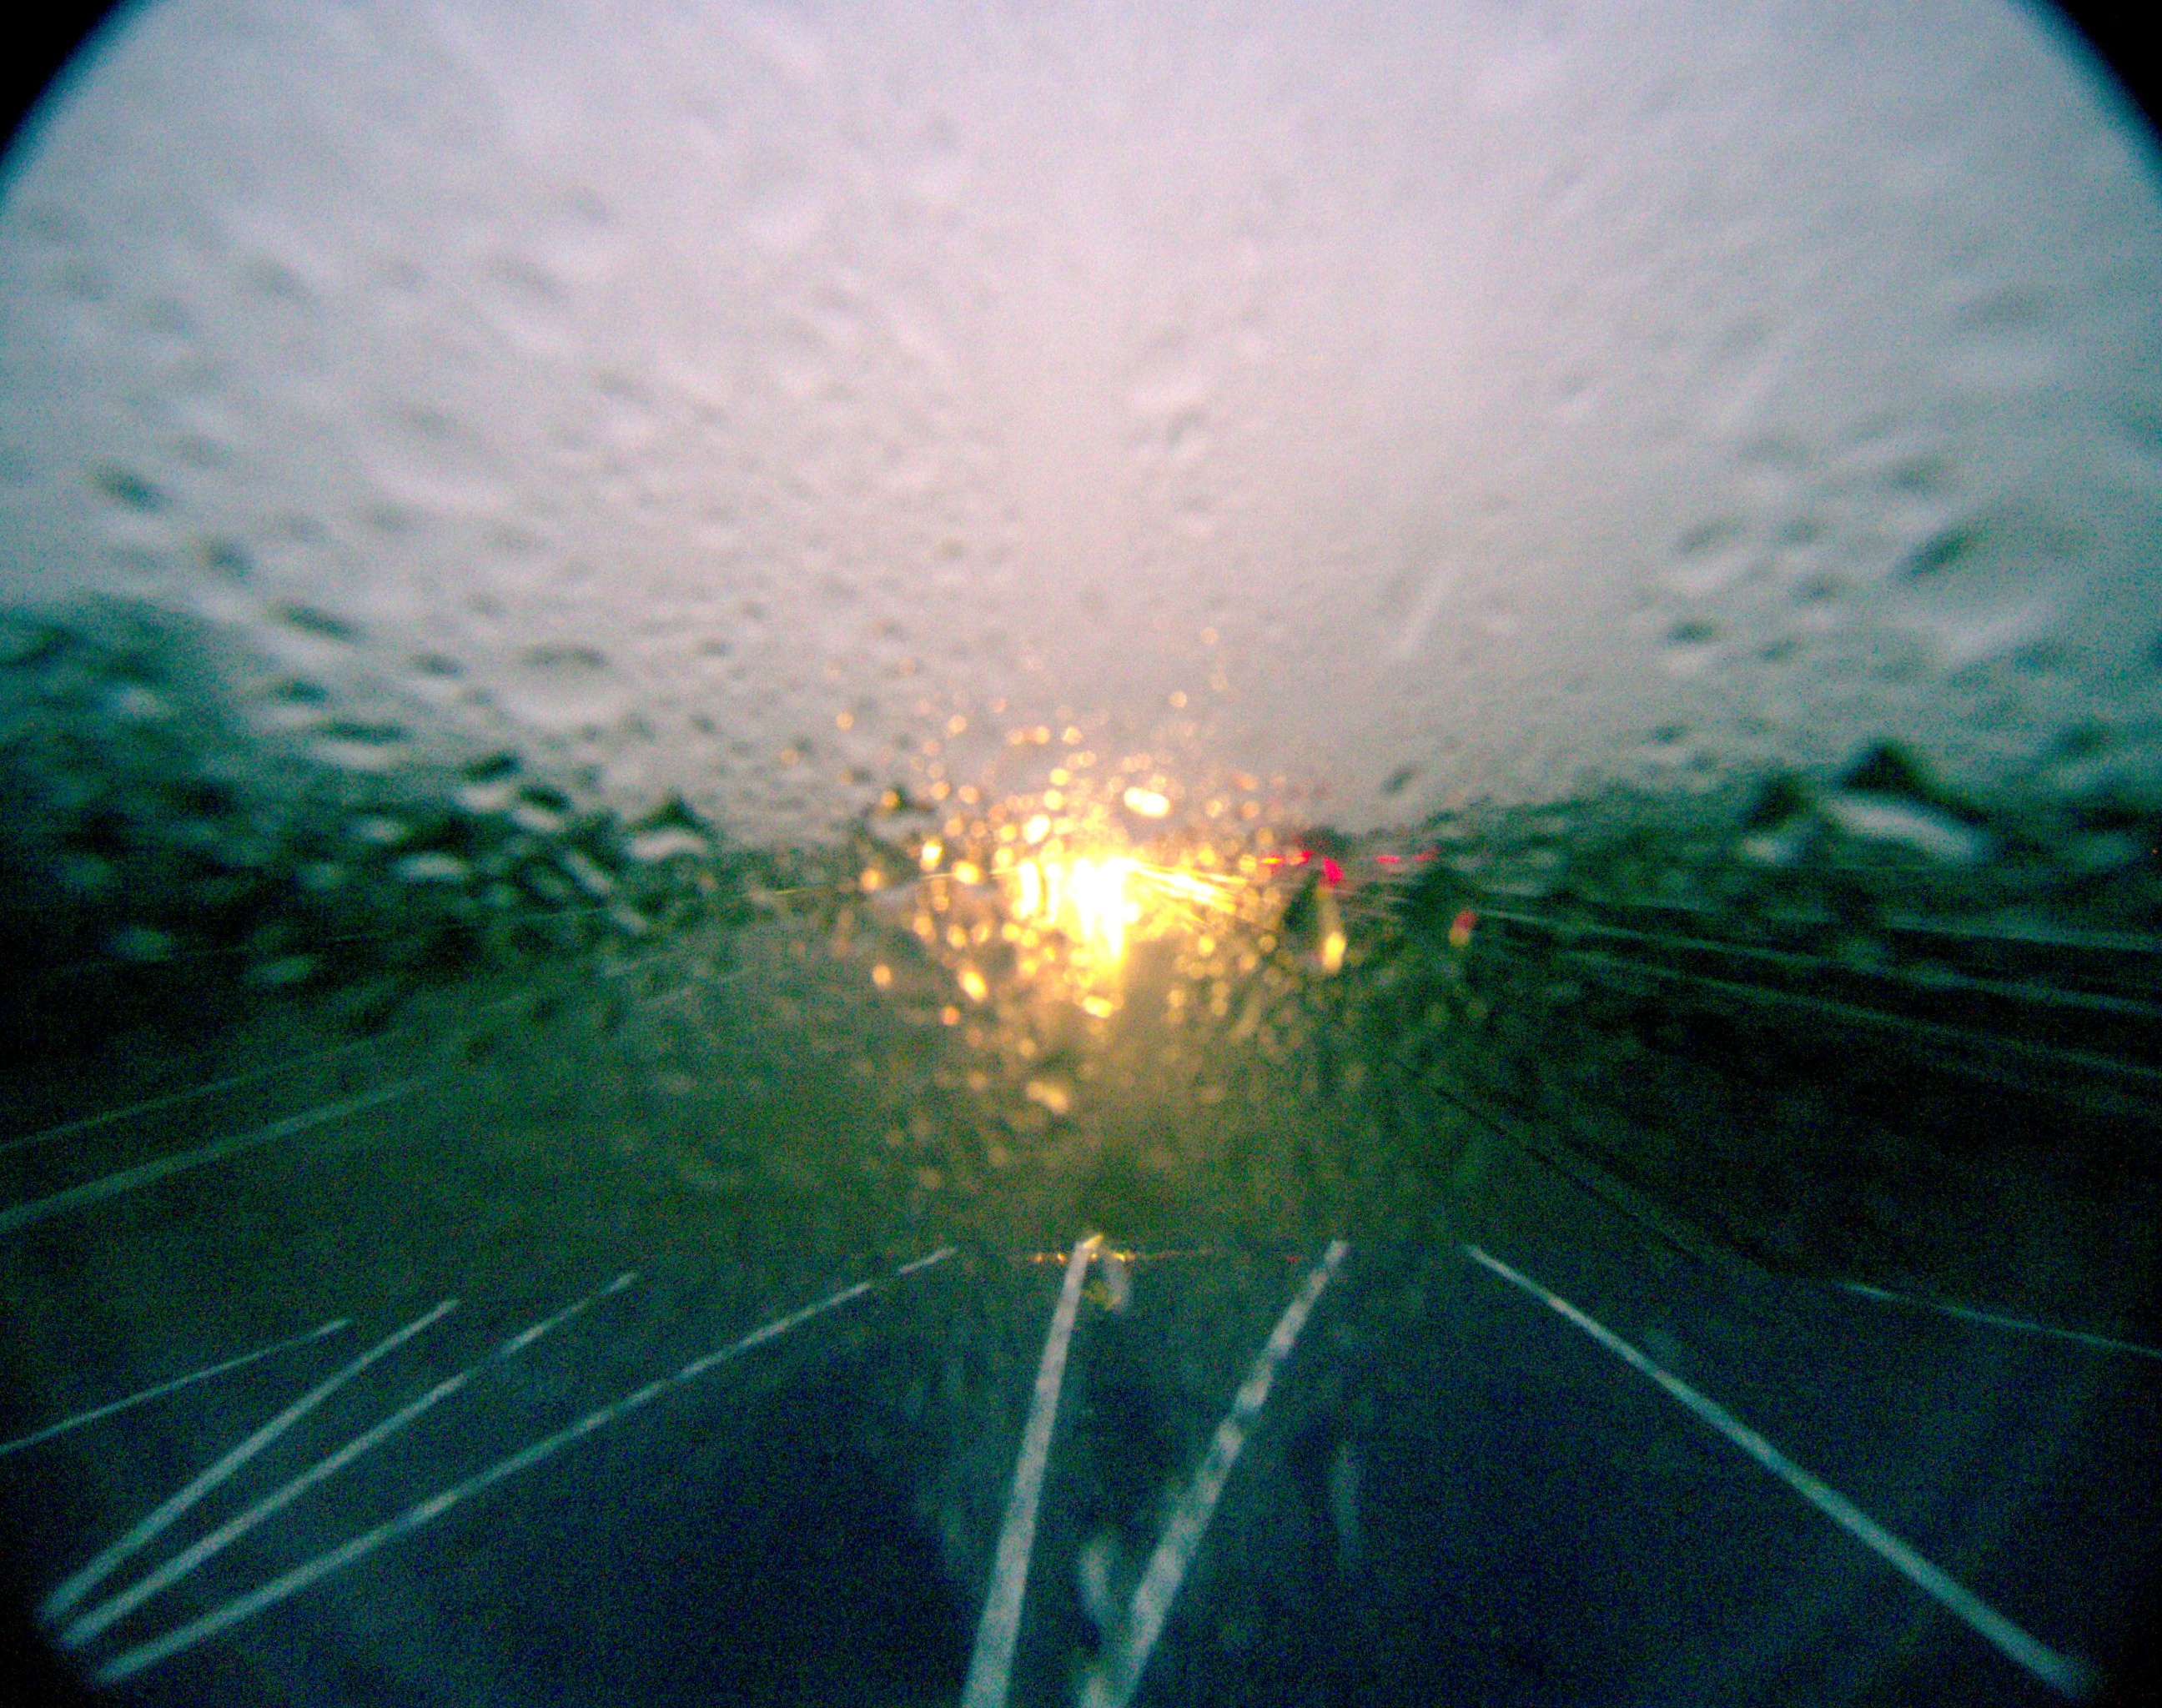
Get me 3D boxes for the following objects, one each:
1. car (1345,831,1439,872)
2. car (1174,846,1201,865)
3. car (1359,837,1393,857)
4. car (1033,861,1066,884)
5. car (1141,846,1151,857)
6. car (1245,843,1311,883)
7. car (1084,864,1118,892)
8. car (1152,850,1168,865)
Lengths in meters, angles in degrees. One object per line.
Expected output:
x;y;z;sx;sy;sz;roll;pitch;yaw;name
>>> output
12.589;-0.064;31.089;1.989;1.542;4.392;-1;-1;-1;car
9.355;0.147;67.048;1.998;1.542;4.137;-1;-1;2;car
30.814;-0.700;79.412;1.998;2.002;4.000;-2;0;2;car
-2.167;1.299;53.590;1.850;1.521;4.150;-1;-1;3;car
13.570;-0.456;159.282;1.998;2.202;5.054;-1;0;3;car
8.121;0.382;31.677;1.821;1.542;4.470;-1;-1;4;car
1.187;1.341;43.423;1.850;1.521;4.150;-1;-1;3;car
11.468;0.501;110.479;1.998;2.123;5.200;-1;-1;2;car
